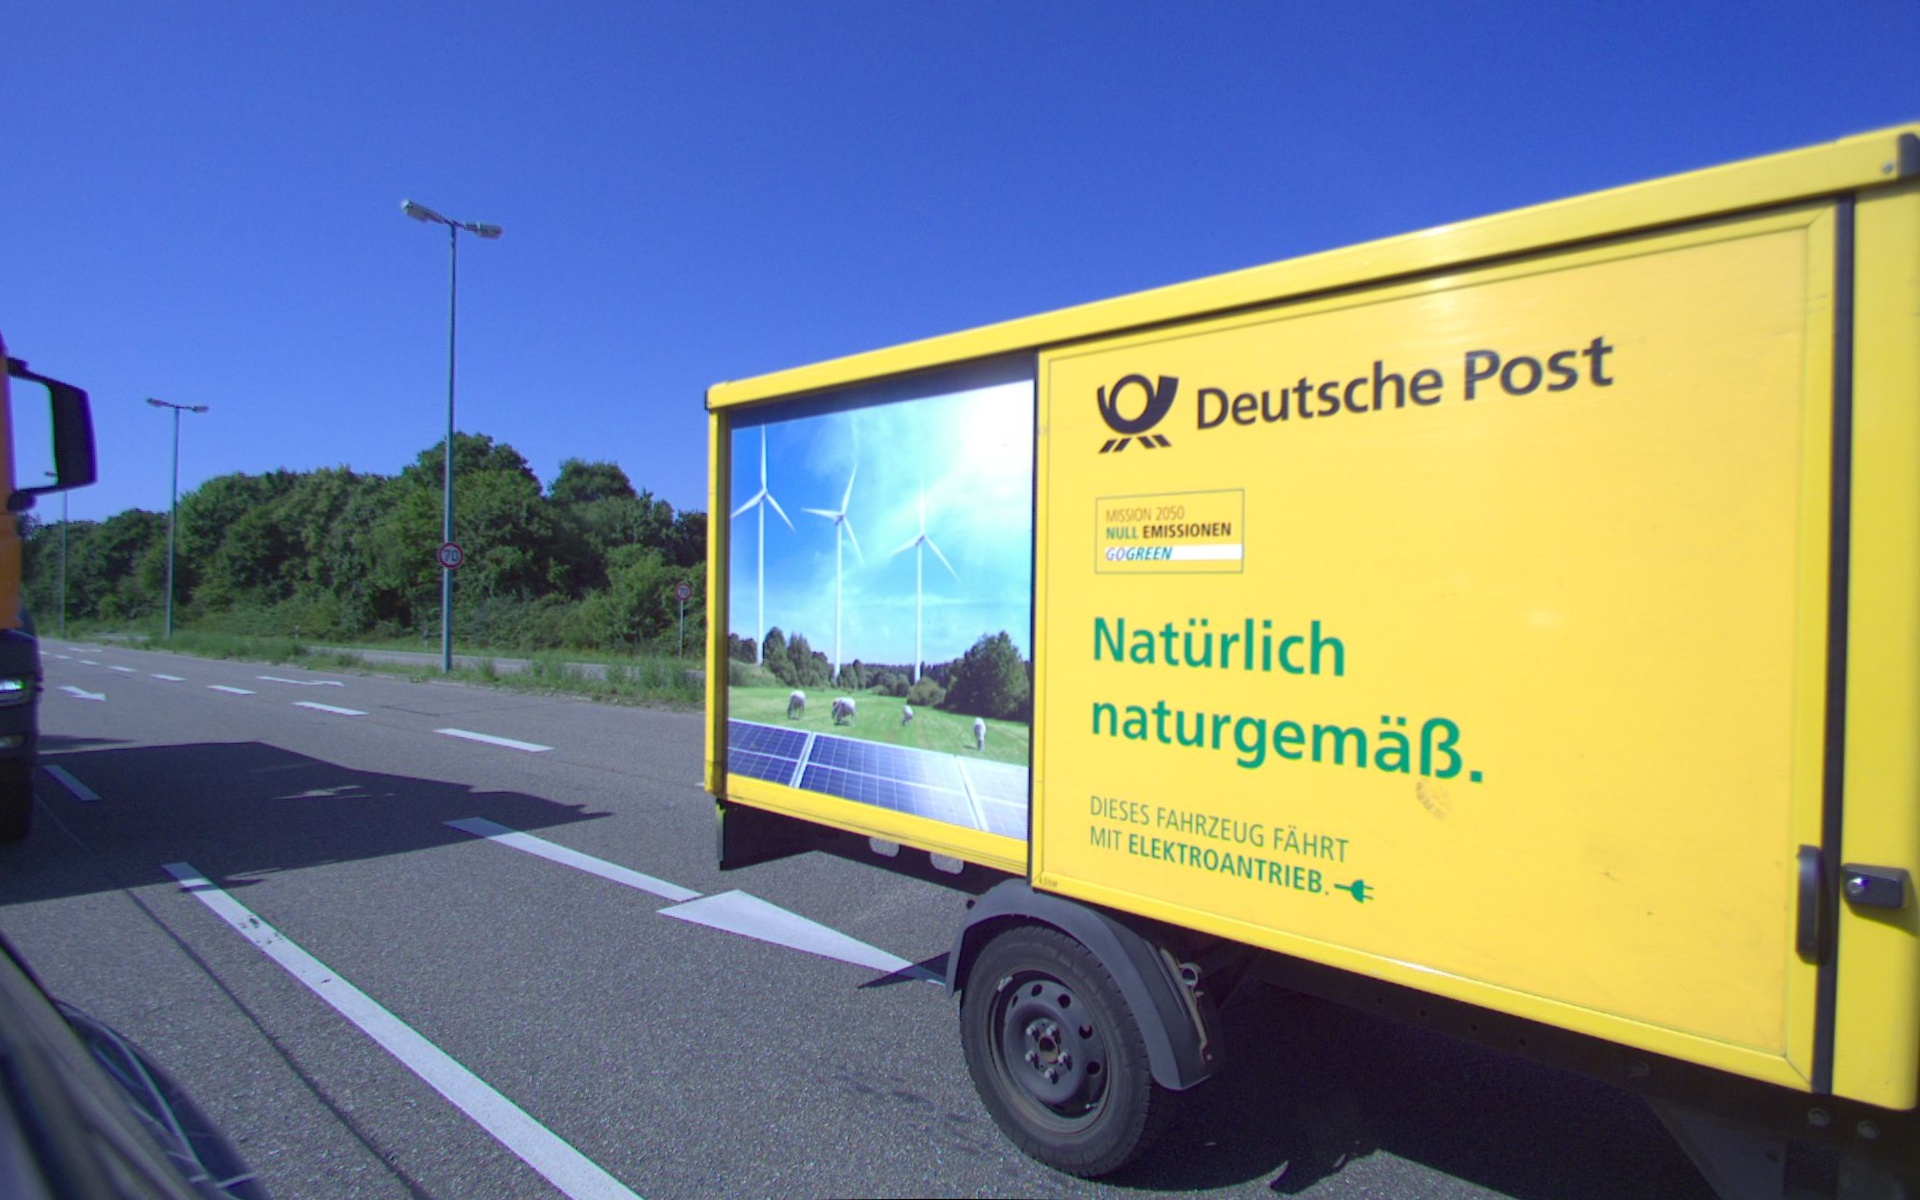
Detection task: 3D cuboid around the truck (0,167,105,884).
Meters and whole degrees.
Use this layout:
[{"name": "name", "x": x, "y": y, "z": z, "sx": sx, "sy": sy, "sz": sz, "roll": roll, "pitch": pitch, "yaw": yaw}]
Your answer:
[{"name": "truck", "x": -8.320, "y": -0.379, "z": 7.007, "sx": 6.591, "sy": 3.904, "sz": 2.901, "roll": -1, "pitch": 0, "yaw": 43}]

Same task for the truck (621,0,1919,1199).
[{"name": "truck", "x": 1.695, "y": 0.135, "z": 2.504, "sx": 5.914, "sy": 2.476, "sz": 2.090, "roll": -1, "pitch": 0, "yaw": 41}]
